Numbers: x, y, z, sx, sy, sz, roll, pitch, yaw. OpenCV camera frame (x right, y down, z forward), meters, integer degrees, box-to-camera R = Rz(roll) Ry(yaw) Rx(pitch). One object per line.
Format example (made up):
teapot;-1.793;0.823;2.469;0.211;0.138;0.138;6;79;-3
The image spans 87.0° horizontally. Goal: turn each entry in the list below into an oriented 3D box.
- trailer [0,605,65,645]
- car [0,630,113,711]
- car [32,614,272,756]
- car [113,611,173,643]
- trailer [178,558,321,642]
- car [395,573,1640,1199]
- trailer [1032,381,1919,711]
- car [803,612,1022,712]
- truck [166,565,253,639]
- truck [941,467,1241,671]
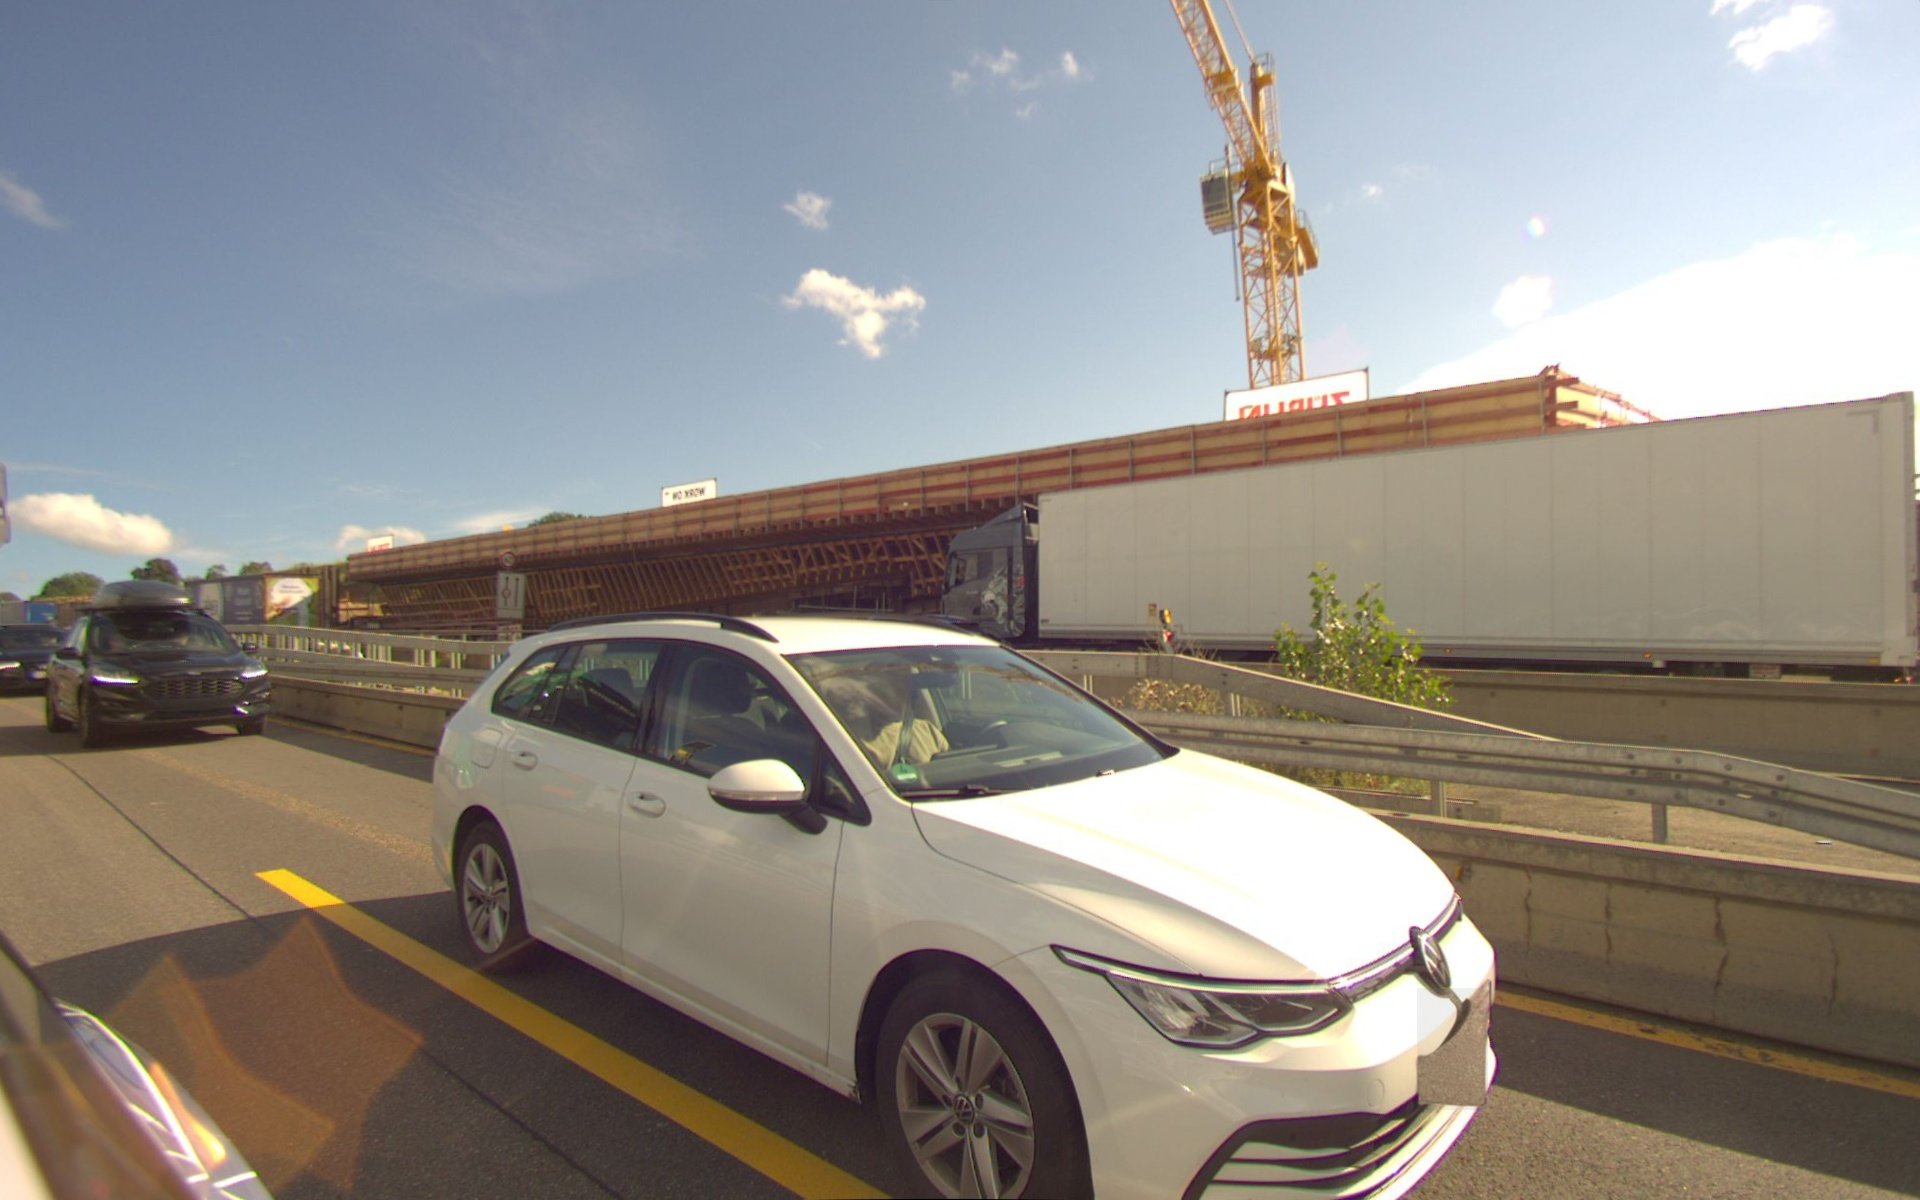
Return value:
trailer;-90.864;2.384;99.023;13.516;3.694;2.834;-1;0;40
car;-19.739;1.419;21.540;4.502;1.441;1.924;0;0;41
car;-10.815;1.003;13.426;4.383;1.554;1.780;-2;-1;42
car;-47.462;1.552;58.769;4.323;1.780;1.904;-1;0;40
trailer;-39.437;0.050;55.822;13.793;4.187;2.662;-1;-1;38
car;-0.337;0.767;3.743;4.516;1.502;1.750;-1;-2;43
trailer;7.460;-0.574;17.452;13.806;3.870;2.789;-1;-1;44
car;-0.998;1.119;19.973;4.121;1.739;1.972;-1;0;42
truck;-44.476;0.119;59.911;5.962;4.169;2.686;-1;-1;38
truck;2.686;-0.556;21.996;6.019;3.817;2.746;-1;-1;43
